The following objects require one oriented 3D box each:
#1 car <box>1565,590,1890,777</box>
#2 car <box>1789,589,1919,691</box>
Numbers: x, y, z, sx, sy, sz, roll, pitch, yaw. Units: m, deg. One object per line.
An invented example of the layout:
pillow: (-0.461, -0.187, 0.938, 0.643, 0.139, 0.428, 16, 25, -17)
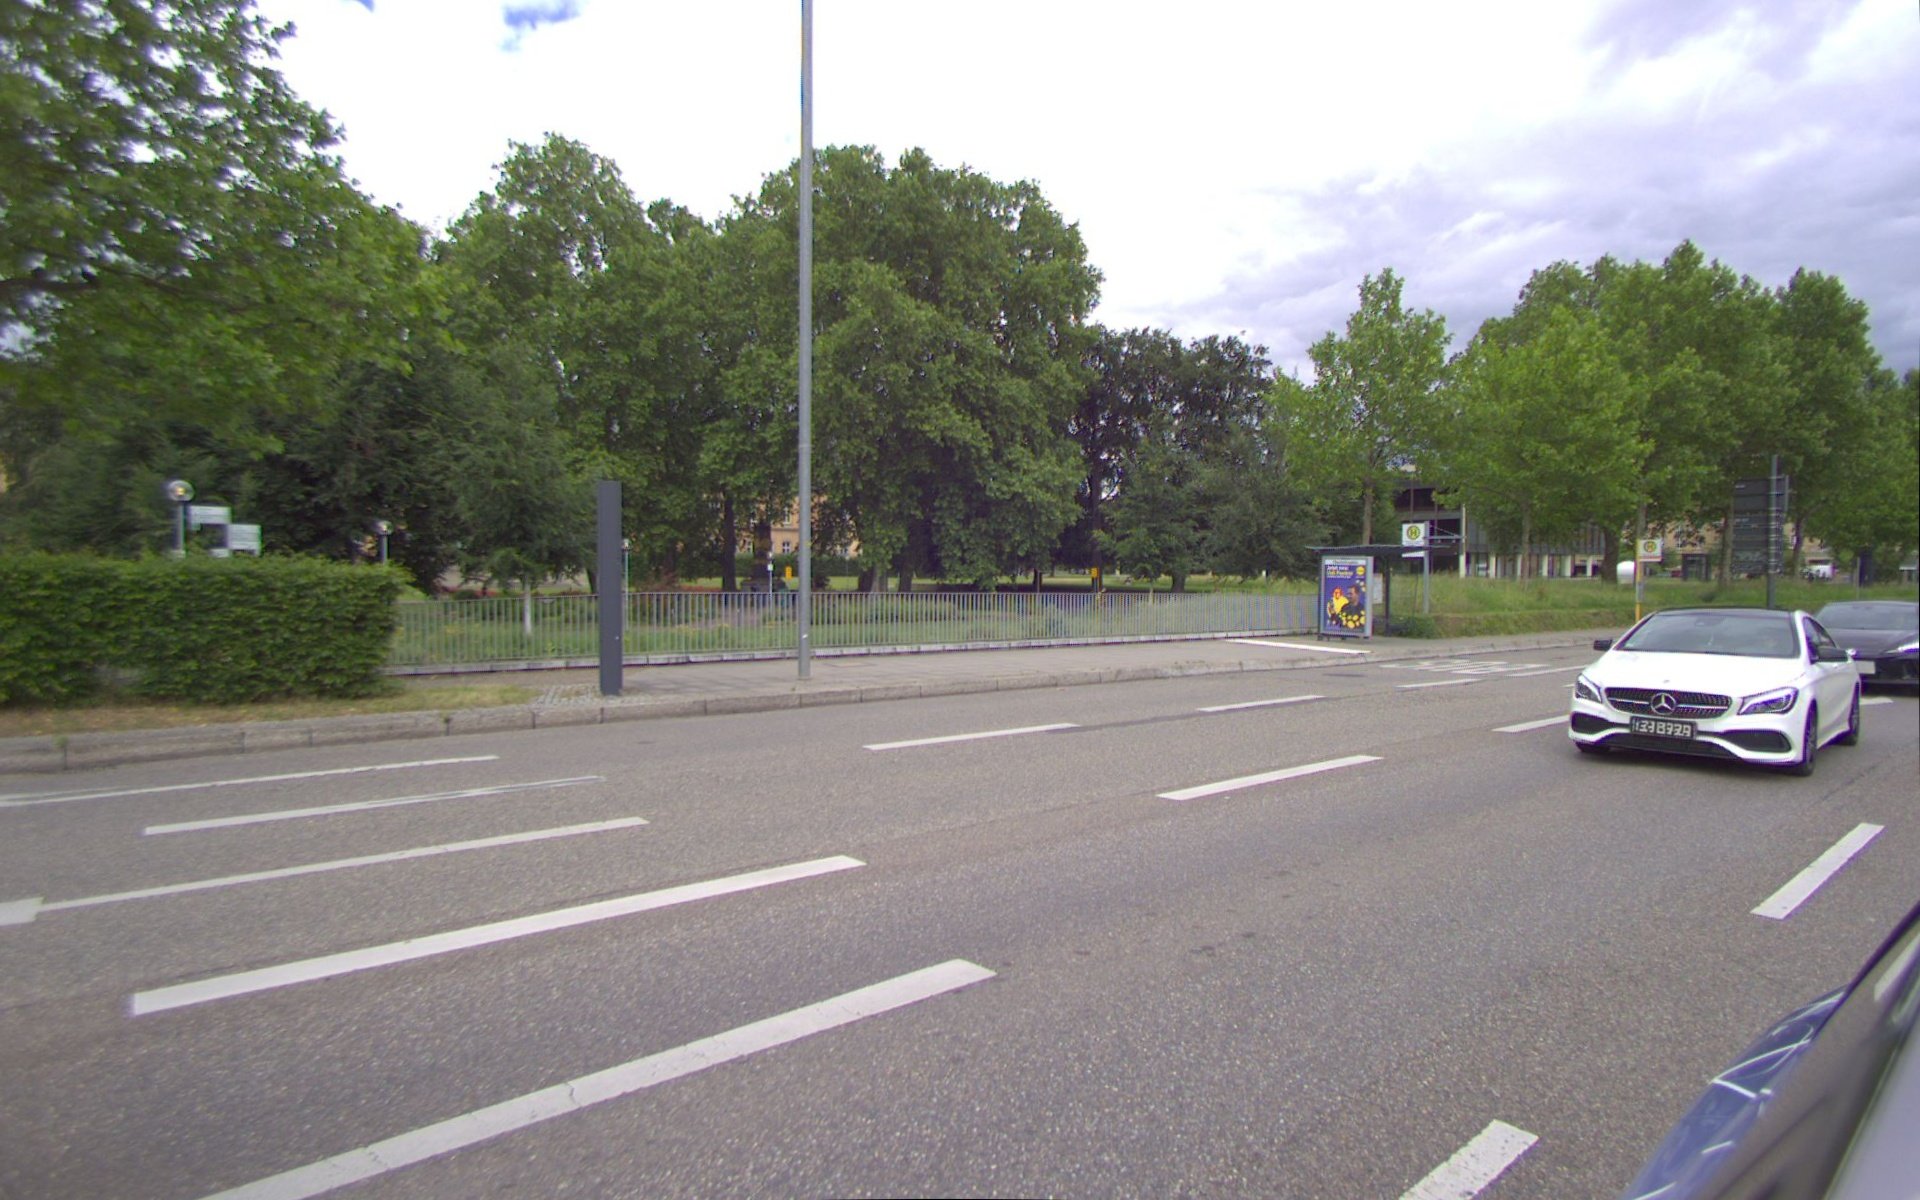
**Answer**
car: (7.743, 0.633, 10.039, 4.428, 1.441, 1.722, -1, 1, -41)
car: (15.655, 0.602, 17.120, 4.047, 1.543, 1.828, 0, 0, -40)
